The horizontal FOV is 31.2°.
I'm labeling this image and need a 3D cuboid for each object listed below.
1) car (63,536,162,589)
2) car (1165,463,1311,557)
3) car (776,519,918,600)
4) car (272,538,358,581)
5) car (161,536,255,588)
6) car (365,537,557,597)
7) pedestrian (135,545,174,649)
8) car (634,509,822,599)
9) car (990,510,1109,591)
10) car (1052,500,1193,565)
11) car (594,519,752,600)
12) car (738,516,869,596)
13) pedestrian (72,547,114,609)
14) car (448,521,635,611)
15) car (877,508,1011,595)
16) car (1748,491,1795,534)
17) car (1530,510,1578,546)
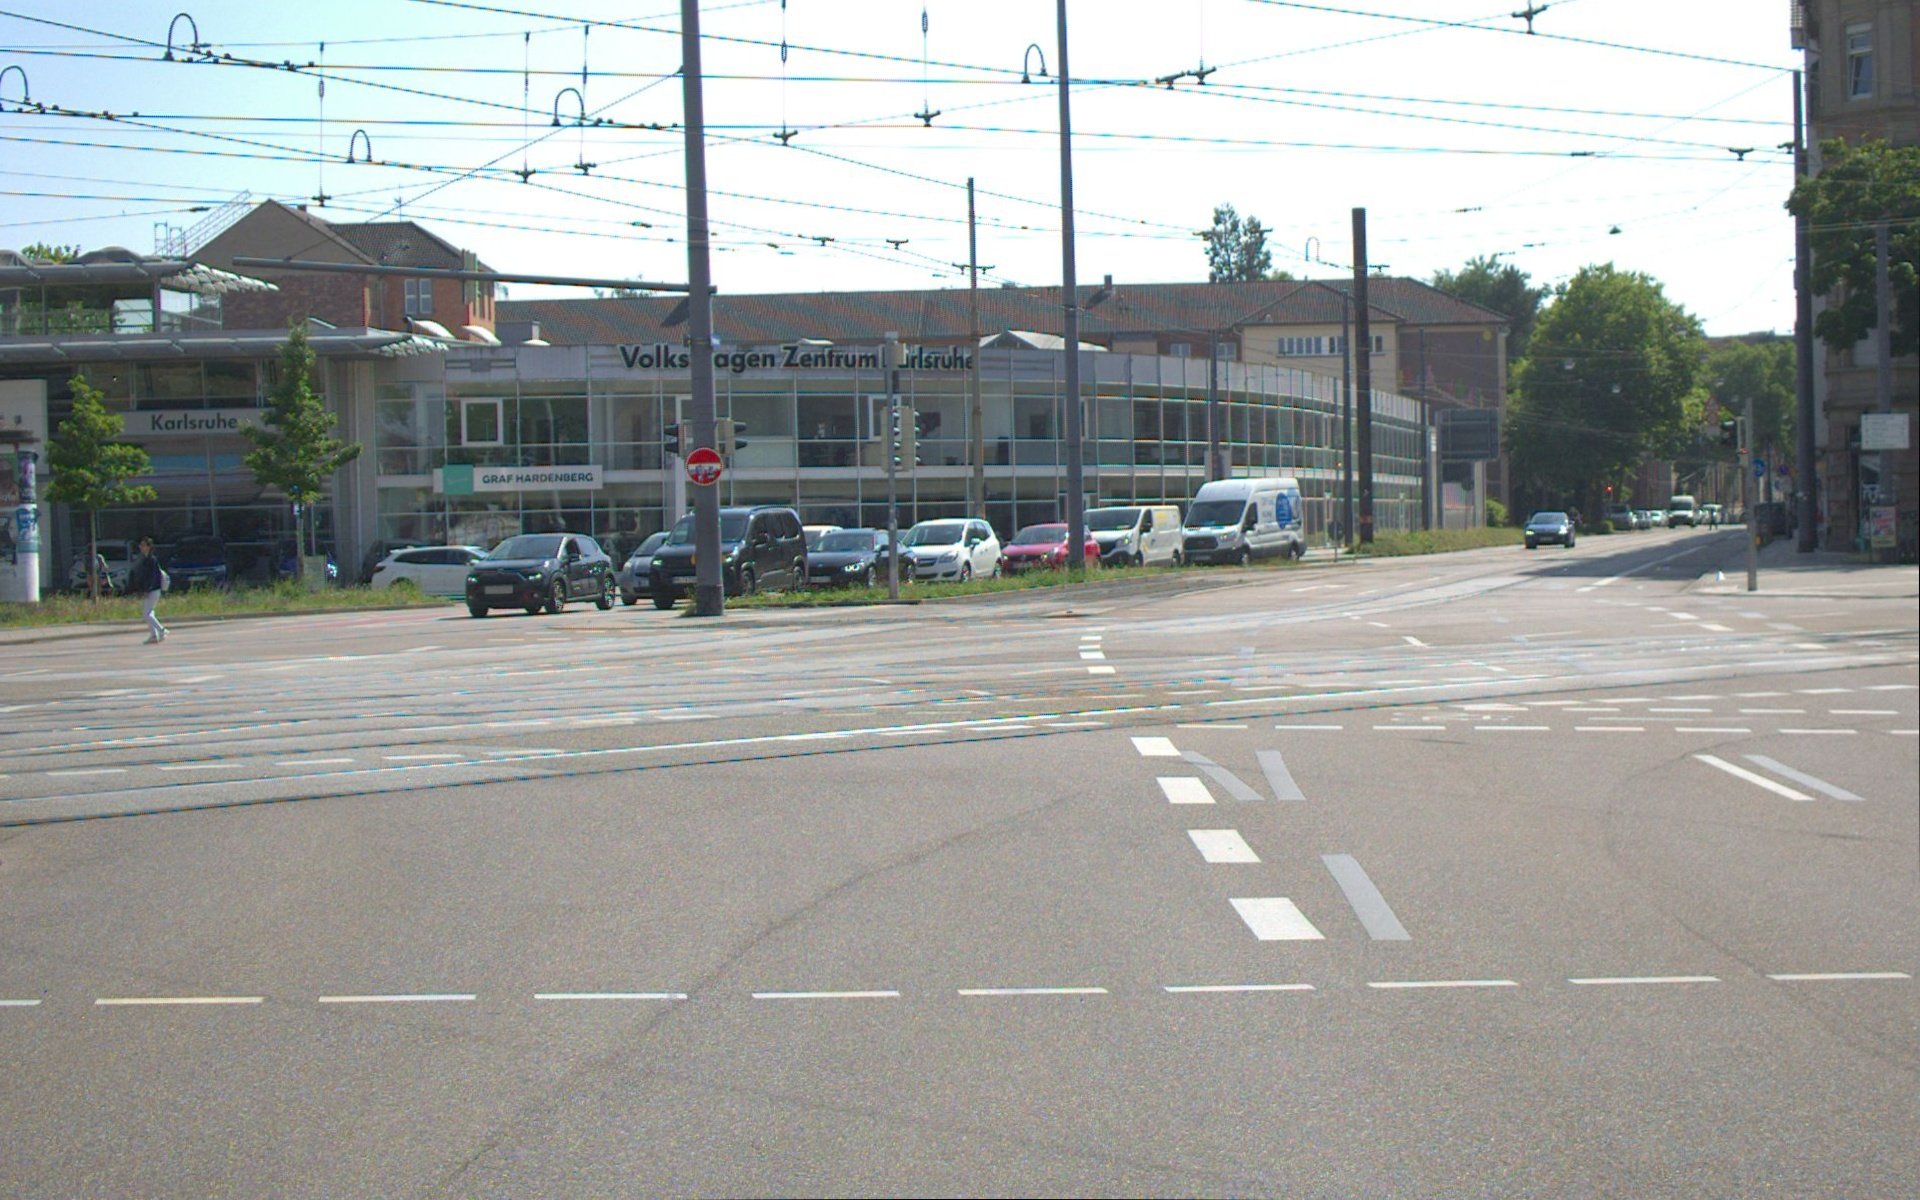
[{"bbox_3d":[-24.712,-1.096,100.380,1.993,1.481,4.000,1,1,-2],"label":"car"},{"bbox_3d":[8.099,-2.579,99.588,2.211,2.566,5.867,1,1,26],"label":"car"},{"bbox_3d":[-2.306,-0.820,71.133,1.895,1.582,3.997,-1,0,14],"label":"car"},{"bbox_3d":[-18.733,-1.182,99.962,1.830,1.191,4.000,1,1,-2],"label":"car"},{"bbox_3d":[-21.927,-1.111,100.352,1.993,1.481,4.000,1,1,-2],"label":"car"},{"bbox_3d":[-12.663,-0.839,87.273,4.587,1.431,1.443,1,0,14],"label":"car"},{"bbox_3d":[-12.530,-0.049,53.495,0.453,1.599,0.400,1,0,-36],"label":"pedestrian"},{"bbox_3d":[-4.308,-0.892,64.581,1.962,1.582,4.713,-1,1,17],"label":"car"},{"bbox_3d":[2.242,-1.209,85.321,1.896,1.910,4.197,-1,0,17],"label":"car"},{"bbox_3d":[4.413,-1.833,92.441,2.188,1.675,5.024,-1,1,22],"label":"car"},{"bbox_3d":[-5.874,-0.827,70.782,1.896,1.582,3.997,-1,0,17],"label":"car"},{"bbox_3d":[-3.528,-0.980,78.104,1.653,1.733,4.197,-1,0,17],"label":"car"},{"bbox_3d":[-22.321,-0.577,88.509,0.953,1.574,0.534,1,0,-3],"label":"pedestrian"},{"bbox_3d":[-7.752,-0.617,64.036,1.893,1.582,4.207,-1,0,17],"label":"car"},{"bbox_3d":[-0.330,-1.084,78.423,1.896,1.910,4.197,-1,0,17],"label":"car"},{"bbox_3d":[39.105,-4.213,165.604,2.110,2.007,3.998,-1,1,14],"label":"car"},{"bbox_3d":[23.723,-2.869,137.304,1.385,1.409,3.010,1,1,19],"label":"car"}]
